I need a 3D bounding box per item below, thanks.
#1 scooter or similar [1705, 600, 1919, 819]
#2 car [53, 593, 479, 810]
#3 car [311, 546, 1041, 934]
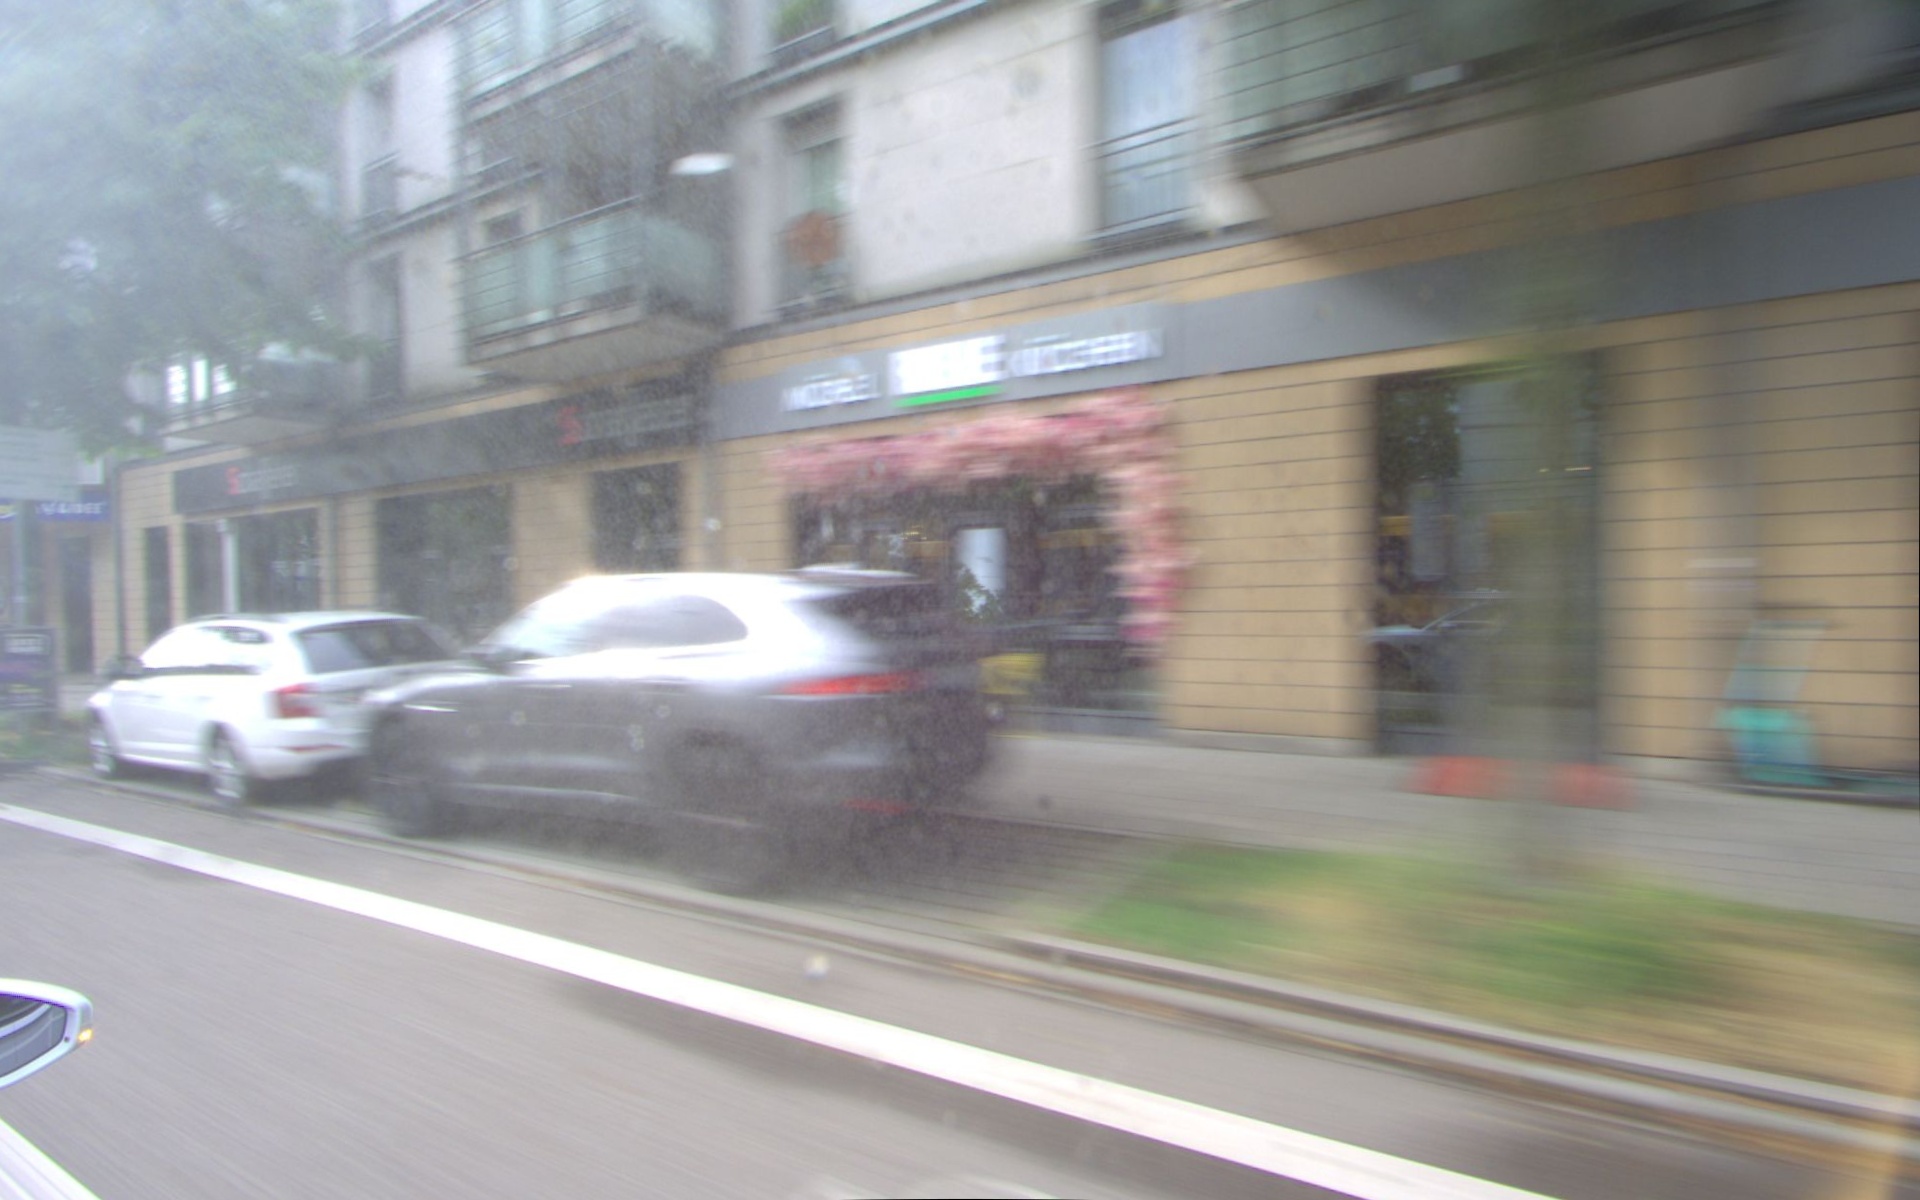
[{"bbox_3d":[5.279,0.629,6.051,1.197,1.217,0.515,-1,3,32],"label":"scooter or similar"},{"bbox_3d":[-6.468,0.761,9.194,4.329,1.519,1.671,-1,3,34],"label":"car"},{"bbox_3d":[-1.965,0.625,6.390,4.642,1.741,1.708,-1,3,31],"label":"car"}]
